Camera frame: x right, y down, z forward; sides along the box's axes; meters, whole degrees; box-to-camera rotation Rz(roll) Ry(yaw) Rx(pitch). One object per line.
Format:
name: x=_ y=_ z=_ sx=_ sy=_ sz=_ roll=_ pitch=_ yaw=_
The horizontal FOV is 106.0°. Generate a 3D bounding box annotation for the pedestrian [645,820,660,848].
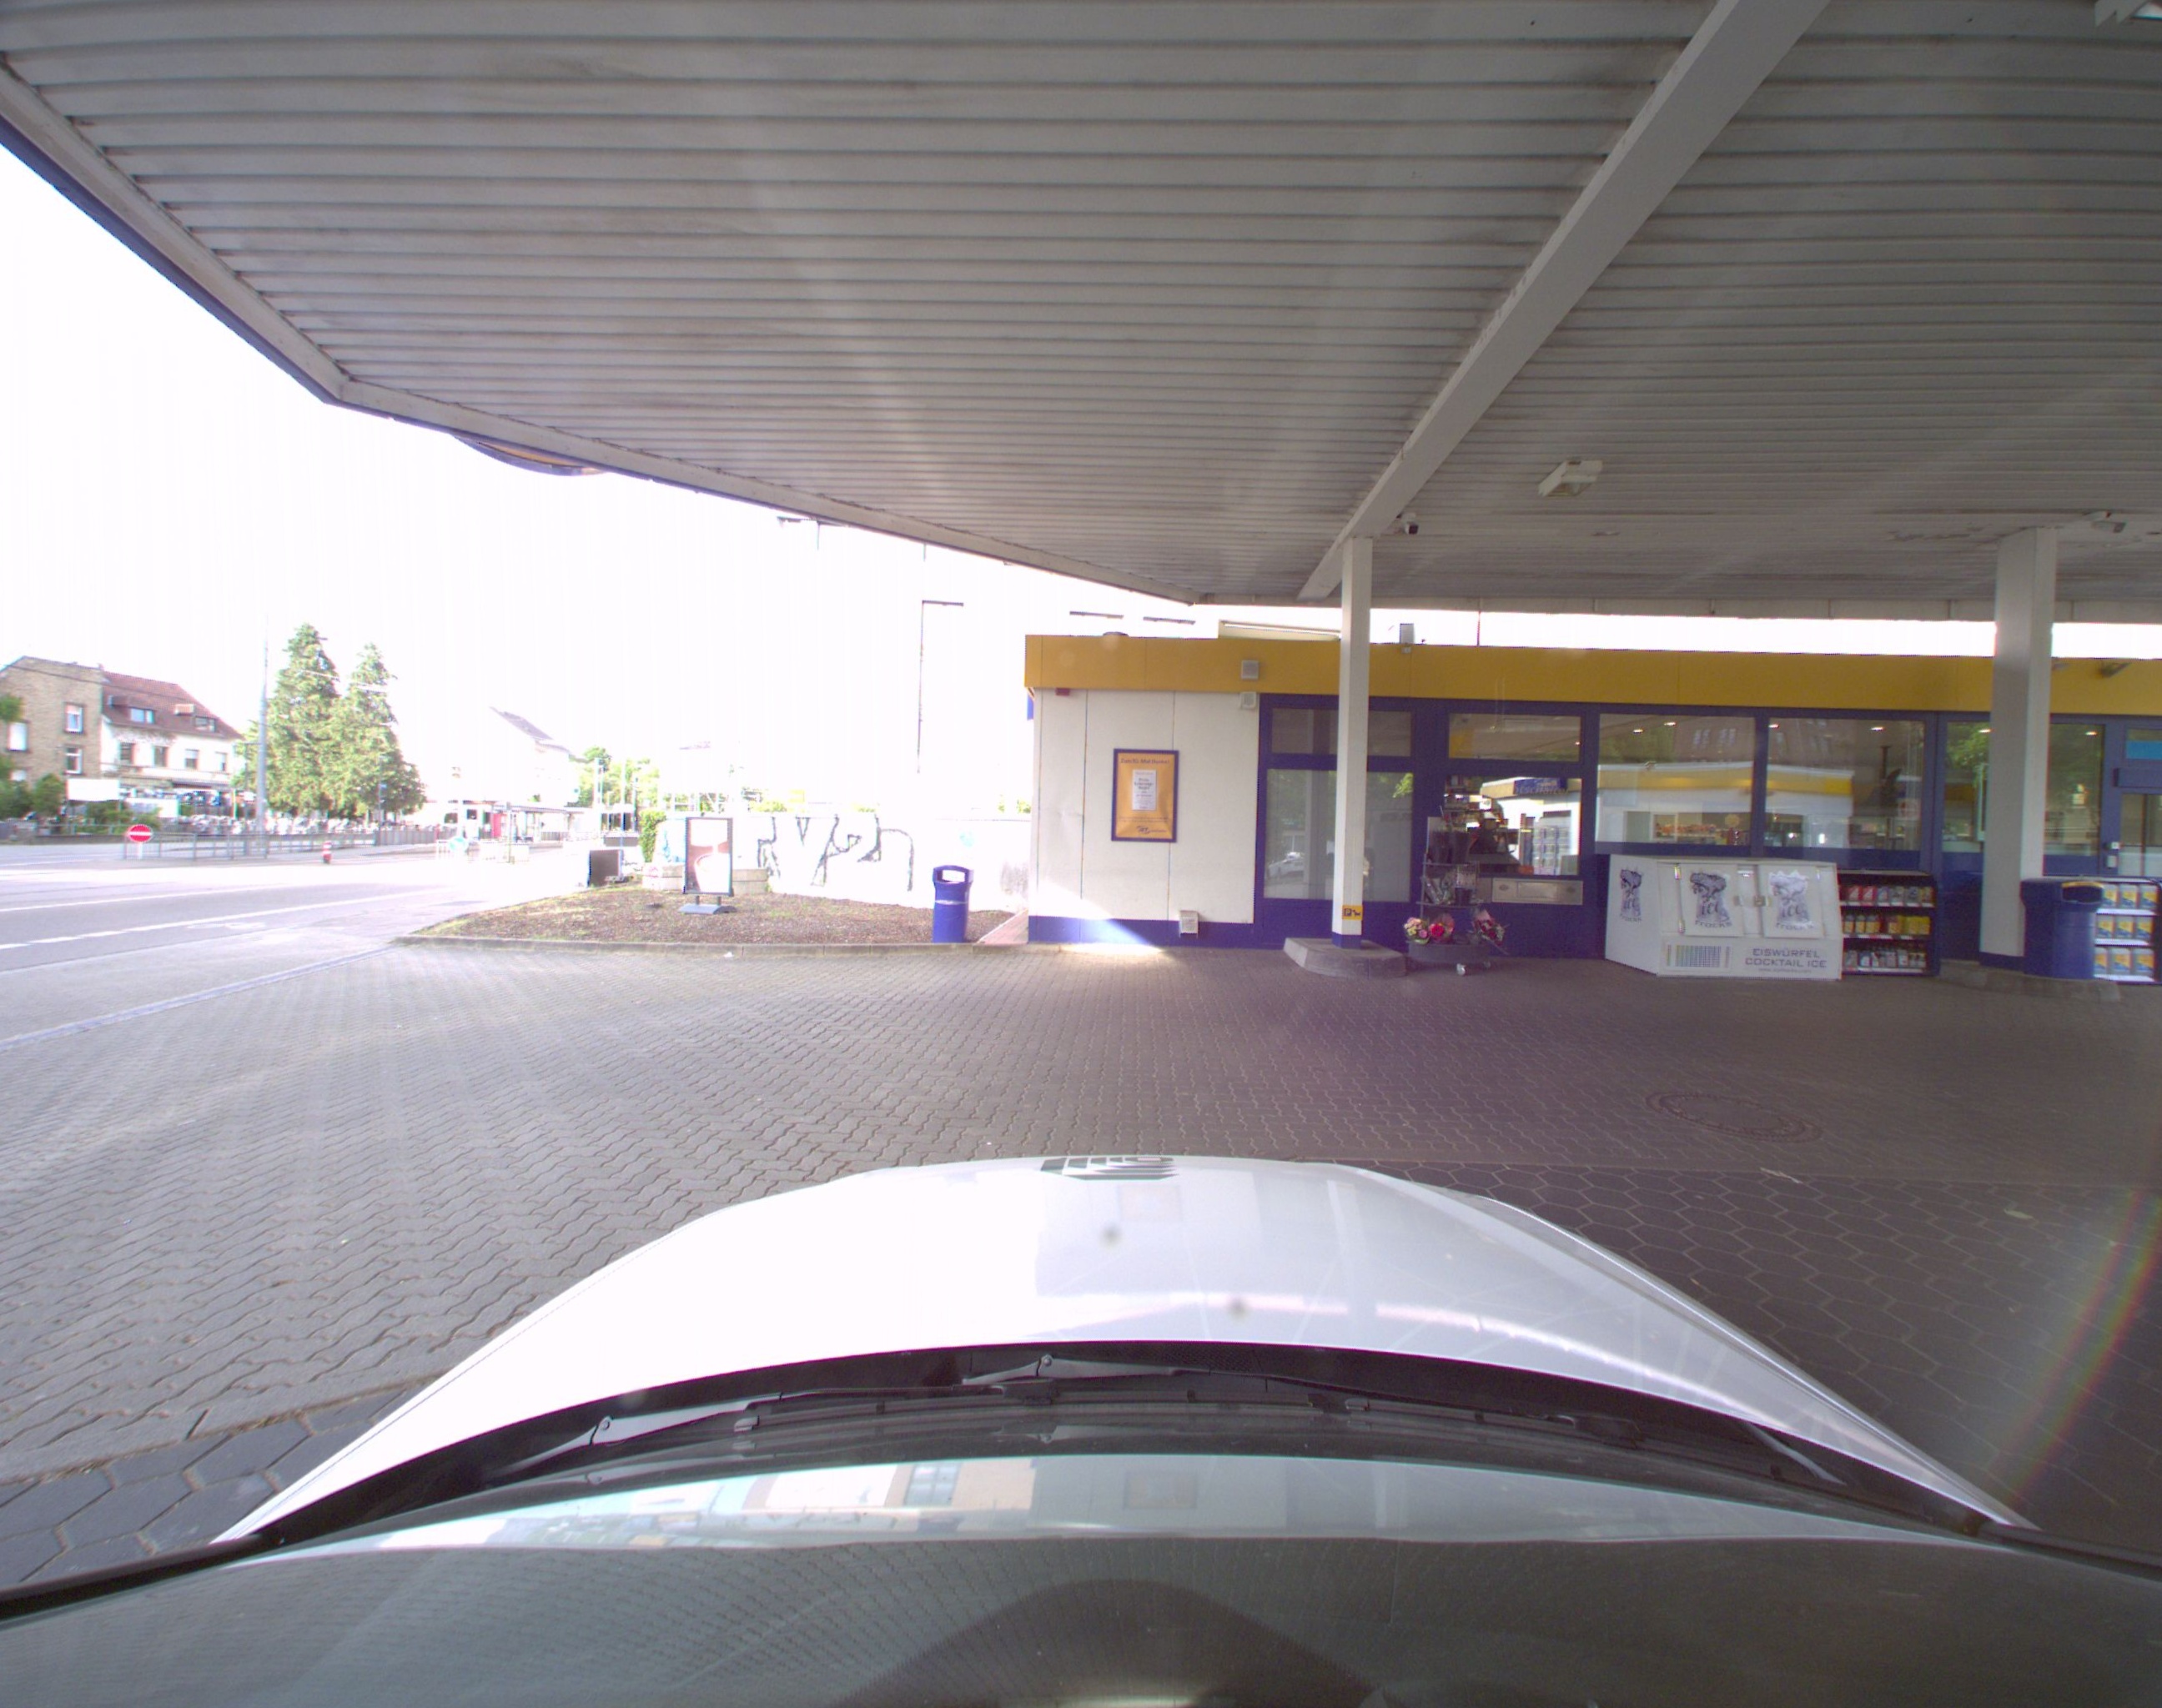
pedestrian: x=-31.045 y=-1.414 z=58.979 sx=0.807 sy=2.014 sz=0.846 roll=0 pitch=-1 yaw=-14
